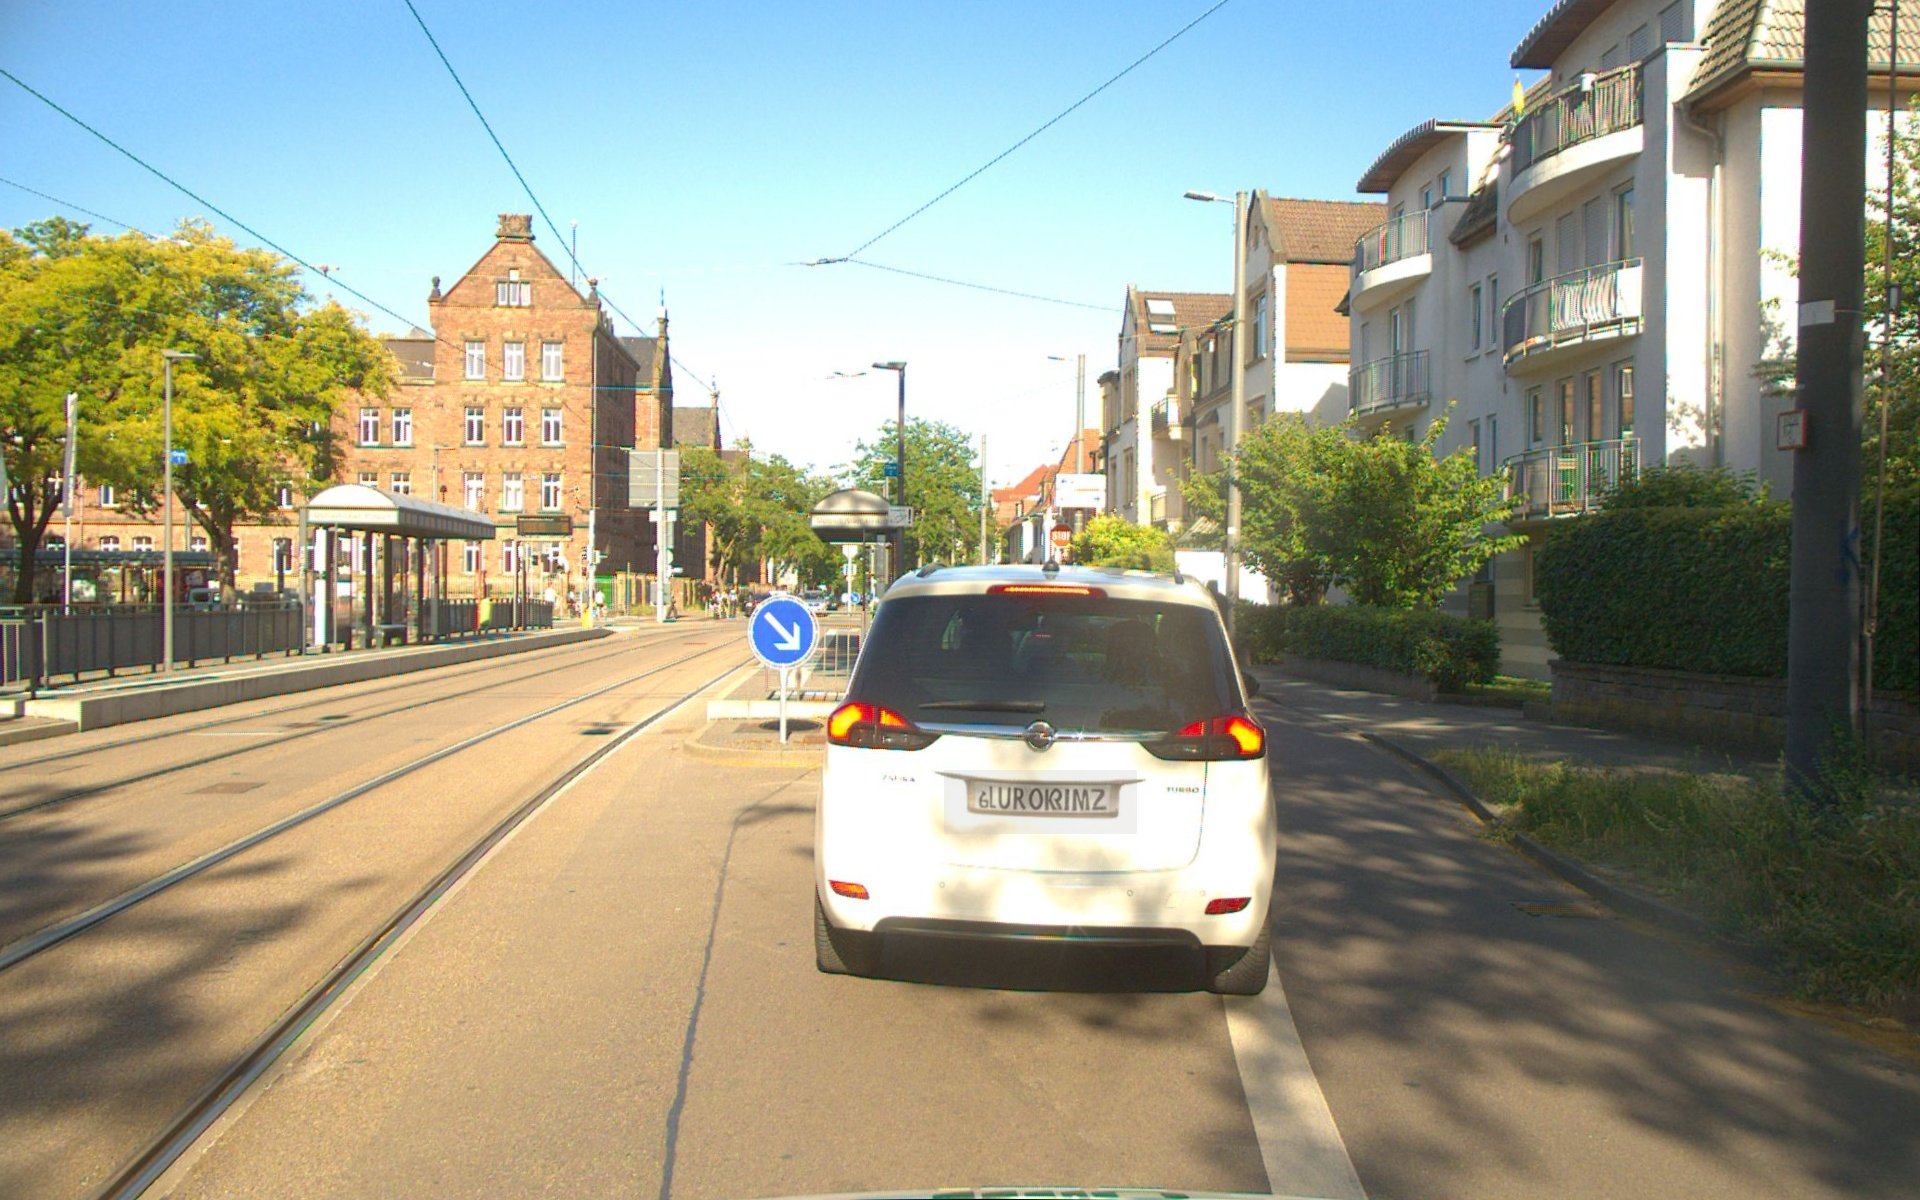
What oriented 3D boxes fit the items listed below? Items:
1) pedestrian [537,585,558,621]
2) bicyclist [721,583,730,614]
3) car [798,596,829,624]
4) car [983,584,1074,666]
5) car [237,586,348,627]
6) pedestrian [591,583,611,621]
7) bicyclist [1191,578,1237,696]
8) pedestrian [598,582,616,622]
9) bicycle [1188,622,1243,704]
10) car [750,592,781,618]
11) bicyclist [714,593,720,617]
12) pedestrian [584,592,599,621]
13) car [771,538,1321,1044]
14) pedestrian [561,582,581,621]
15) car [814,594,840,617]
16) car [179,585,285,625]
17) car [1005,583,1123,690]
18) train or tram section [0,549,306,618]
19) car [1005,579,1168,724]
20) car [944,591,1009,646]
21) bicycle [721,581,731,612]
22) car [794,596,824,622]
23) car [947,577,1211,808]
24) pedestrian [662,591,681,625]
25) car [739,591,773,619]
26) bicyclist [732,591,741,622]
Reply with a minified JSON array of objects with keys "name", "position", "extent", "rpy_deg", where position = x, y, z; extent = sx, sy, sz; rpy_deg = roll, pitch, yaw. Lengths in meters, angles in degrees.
[{"name":"pedestrian","position":[-22.114,0.163,88.679],"extent":[0.791,1.934,0.744],"rpy_deg":[1,-1,13]},{"name":"bicyclist","position":[-15.399,-0.099,108.749],"extent":[0.488,2.049,0.572],"rpy_deg":[0,0,-1]},{"name":"car","position":[-9.459,0.625,107.206],"extent":[1.711,1.746,3.999],"rpy_deg":[1,0,-1]},{"name":"car","position":[1.441,0.502,36.124],"extent":[1.868,1.690,4.000],"rpy_deg":[0,0,0]},{"name":"car","position":[-28.122,0.273,69.750],"extent":[3.908,1.658,1.817],"rpy_deg":[1,0,-4]},{"name":"pedestrian","position":[-19.262,0.119,88.672],"extent":[0.789,2.049,0.711],"rpy_deg":[1,-1,-38]},{"name":"bicyclist","position":[3.753,0.532,24.456],"extent":[0.603,1.716,0.779],"rpy_deg":[0,0,4]},{"name":"pedestrian","position":[-18.089,0.094,84.696],"extent":[0.782,2.049,0.717],"rpy_deg":[1,-1,-18]},{"name":"bicycle","position":[3.755,0.906,24.436],"extent":[0.611,1.116,1.974],"rpy_deg":[0,0,3]},{"name":"car","position":[-13.313,0.363,113.503],"extent":[1.711,1.746,3.999],"rpy_deg":[1,0,-1]},{"name":"bicyclist","position":[-15.111,0.296,102.807],"extent":[0.307,1.469,0.384],"rpy_deg":[0,0,-1]},{"name":"pedestrian","position":[-21.146,0.376,94.987],"extent":[0.640,1.640,0.711],"rpy_deg":[1,-1,1]},{"name":"car","position":[0.500,0.630,7.626],"extent":[1.866,1.690,4.003],"rpy_deg":[0,0,6]},{"name":"pedestrian","position":[-20.716,0.090,88.027],"extent":[0.788,2.049,0.712],"rpy_deg":[1,-1,-34]},{"name":"car","position":[-10.363,0.449,128.904],"extent":[1.711,1.746,3.999],"rpy_deg":[1,0,-1]},{"name":"car","position":[-32.453,0.227,73.823],"extent":[3.908,1.658,1.817],"rpy_deg":[1,0,-4]},{"name":"car","position":[1.784,0.575,28.291],"extent":[1.867,1.690,4.002],"rpy_deg":[0,0,4]},{"name":"train or tram section","position":[-40.755,-0.753,79.425],"extent":[17.048,3.210,3.343],"rpy_deg":[0,0,-6]},{"name":"car","position":[1.675,0.585,21.012],"extent":[1.866,1.653,4.003],"rpy_deg":[0,0,6]},{"name":"car","position":[0.497,0.555,53.087],"extent":[1.869,1.690,3.998],"rpy_deg":[0,0,-2]},{"name":"bicycle","position":[-15.401,-0.223,108.712],"extent":[0.477,2.049,1.405],"rpy_deg":[0,0,-1]},{"name":"car","position":[-10.477,0.603,115.048],"extent":[1.711,1.746,3.999],"rpy_deg":[1,0,-1]},{"name":"car","position":[1.063,0.645,13.779],"extent":[1.866,1.625,4.003],"rpy_deg":[0,0,6]},{"name":"pedestrian","position":[-16.673,0.439,95.574],"extent":[0.736,1.934,0.800],"rpy_deg":[1,-1,-37]},{"name":"car","position":[-13.167,0.303,106.838],"extent":[1.711,1.746,3.999],"rpy_deg":[1,0,-1]},{"name":"bicyclist","position":[-15.106,0.432,111.689],"extent":[0.478,2.049,0.502],"rpy_deg":[1,-1,-1]}]
